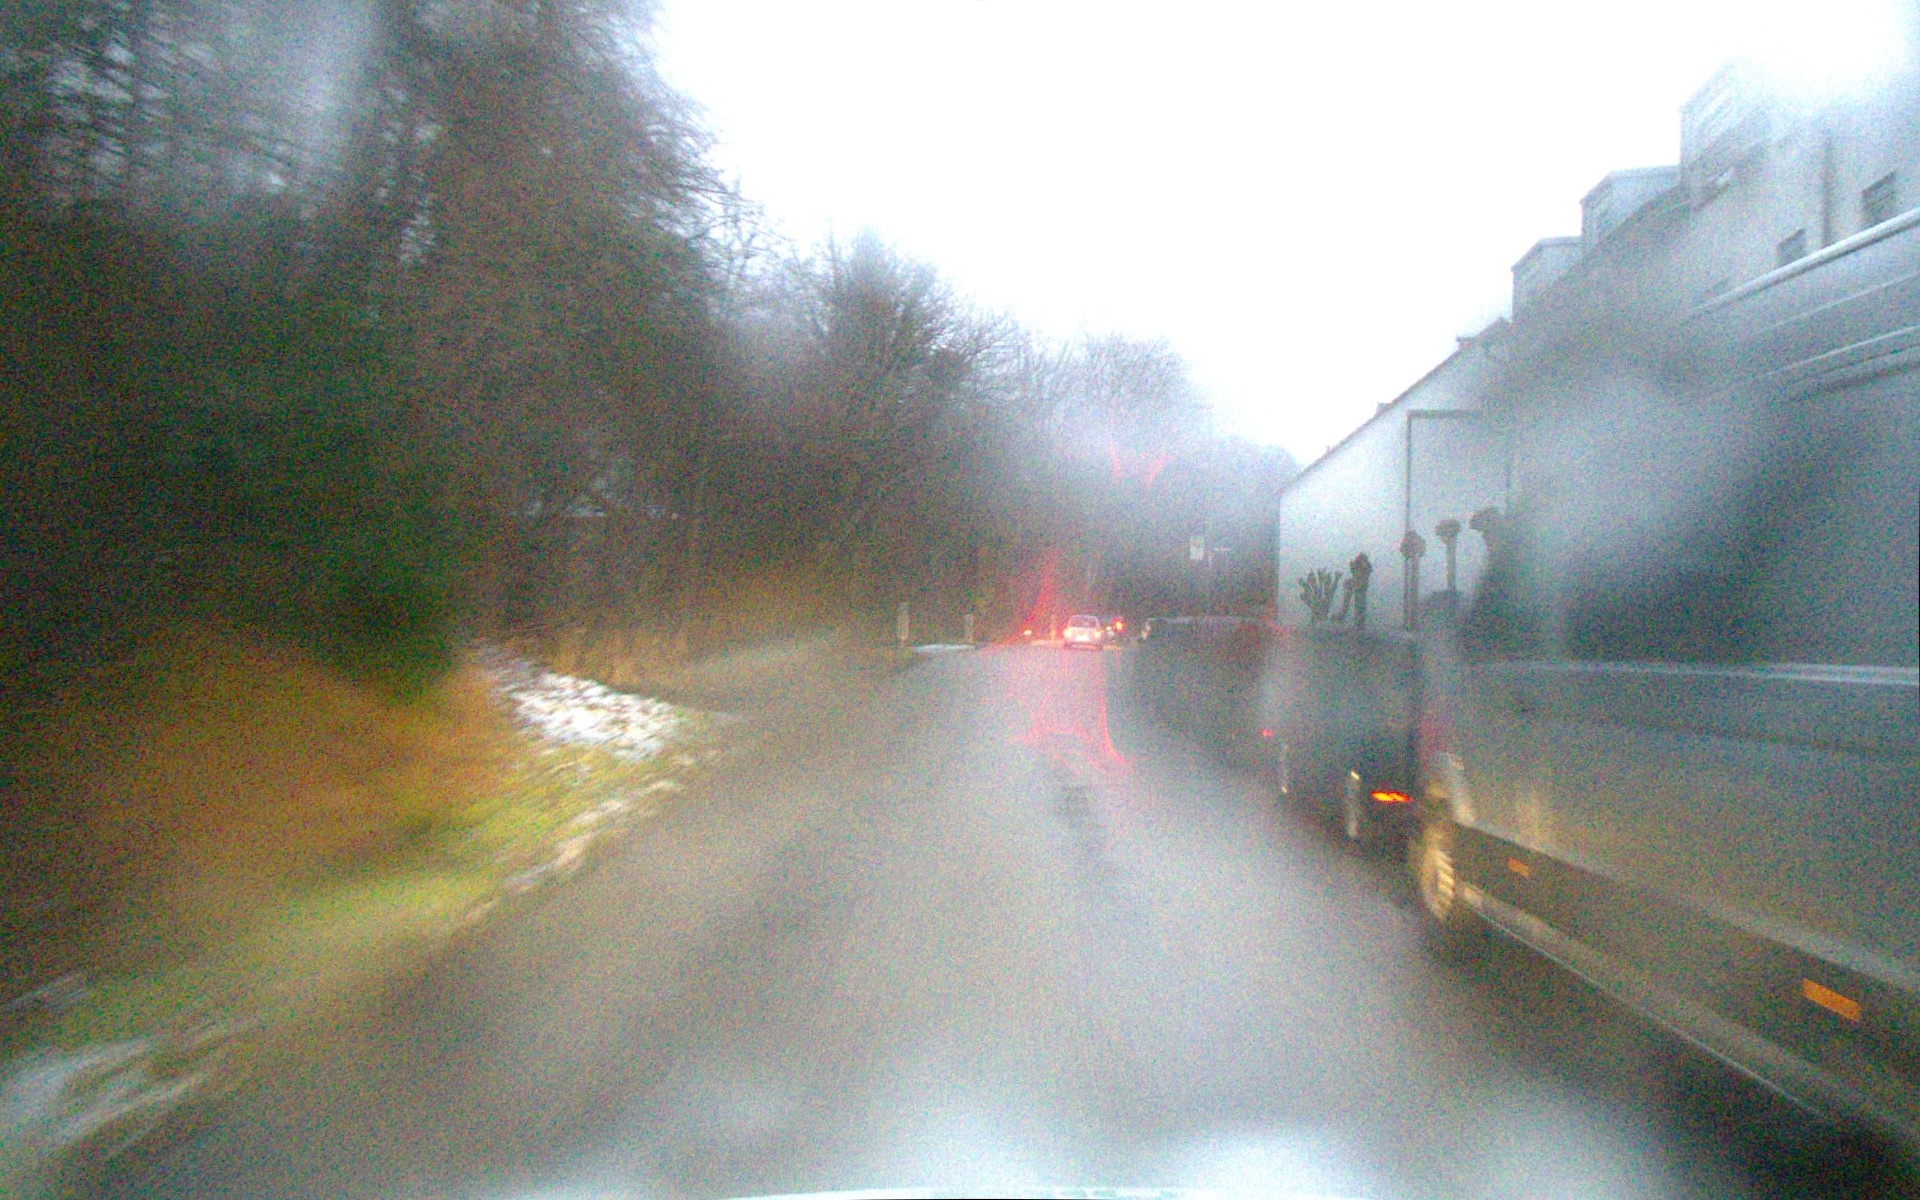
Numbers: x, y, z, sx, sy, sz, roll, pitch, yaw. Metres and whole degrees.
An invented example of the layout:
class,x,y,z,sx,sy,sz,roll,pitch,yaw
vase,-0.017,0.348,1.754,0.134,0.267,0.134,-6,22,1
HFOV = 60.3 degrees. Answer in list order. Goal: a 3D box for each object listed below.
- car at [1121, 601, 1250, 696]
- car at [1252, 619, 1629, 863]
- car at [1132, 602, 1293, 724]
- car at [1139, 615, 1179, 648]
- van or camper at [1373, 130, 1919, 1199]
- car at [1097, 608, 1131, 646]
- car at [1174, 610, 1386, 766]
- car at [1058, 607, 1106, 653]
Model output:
class,x,y,z,sx,sy,sz,roll,pitch,yaw
car,3.896,0.799,29.182,1.702,1.454,4.457,3,0,1
car,3.257,0.871,12.021,1.621,1.414,4.123,1,0,1
car,3.449,0.809,23.330,1.621,1.454,4.565,3,0,1
car,9.842,1.536,81.548,1.667,1.532,4.028,2,0,11
van or camper,3.073,0.266,5.045,1.973,2.551,6.793,1,0,1
car,7.771,1.334,83.362,1.654,1.805,3.863,1,0,6
car,3.257,0.826,17.582,1.621,1.414,4.534,1,0,3
car,5.155,1.241,70.177,1.892,1.812,4.002,1,0,3
